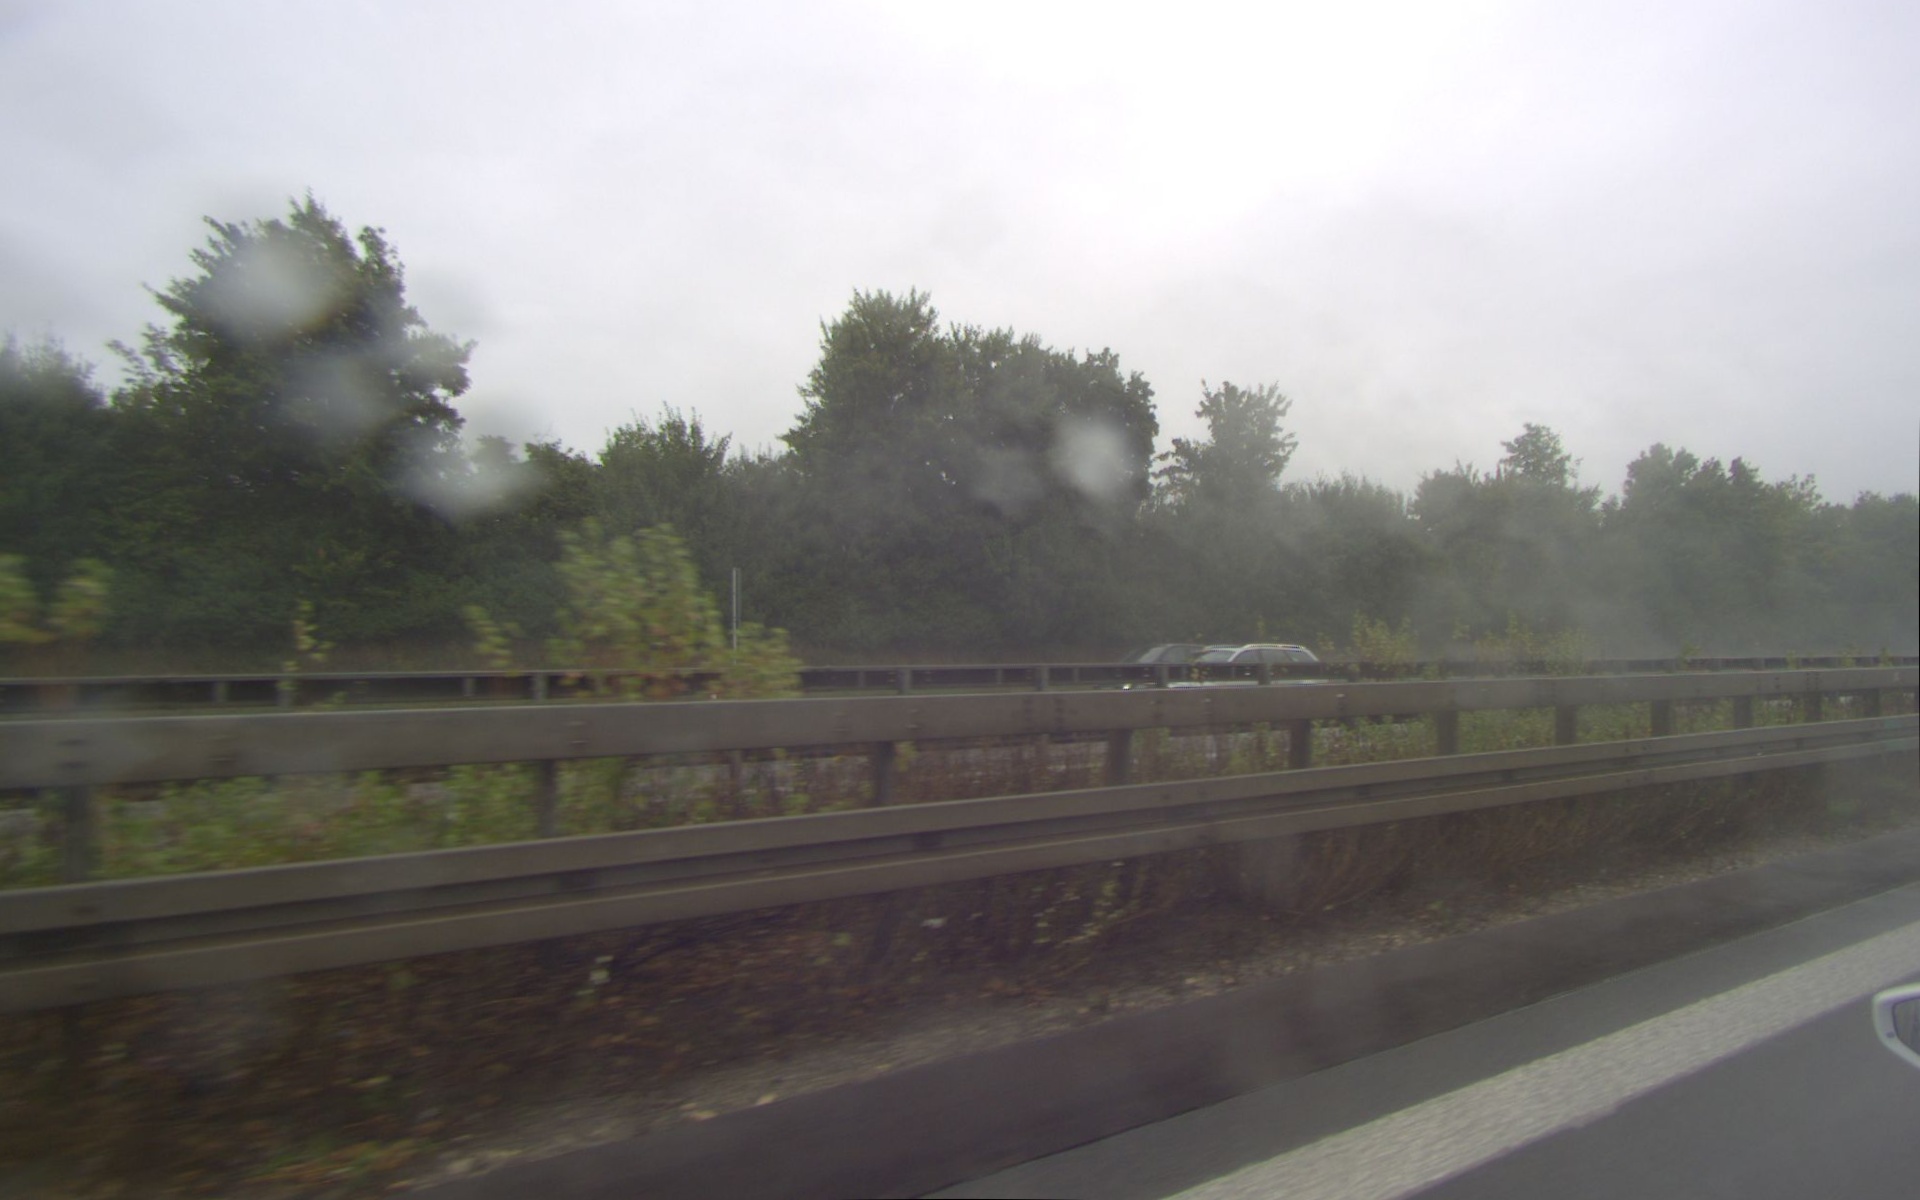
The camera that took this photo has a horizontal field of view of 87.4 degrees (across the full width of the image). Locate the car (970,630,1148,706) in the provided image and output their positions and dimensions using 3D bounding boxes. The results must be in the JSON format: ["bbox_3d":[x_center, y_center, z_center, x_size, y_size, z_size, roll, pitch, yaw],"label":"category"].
[{"bbox_3d":[2.367,1.529,23.707,3.954,1.588,1.724,1,0,-31],"label":"car"}]

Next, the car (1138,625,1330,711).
[{"bbox_3d":[5.449,1.268,19.880,3.700,1.514,1.575,1,0,-31],"label":"car"}]
